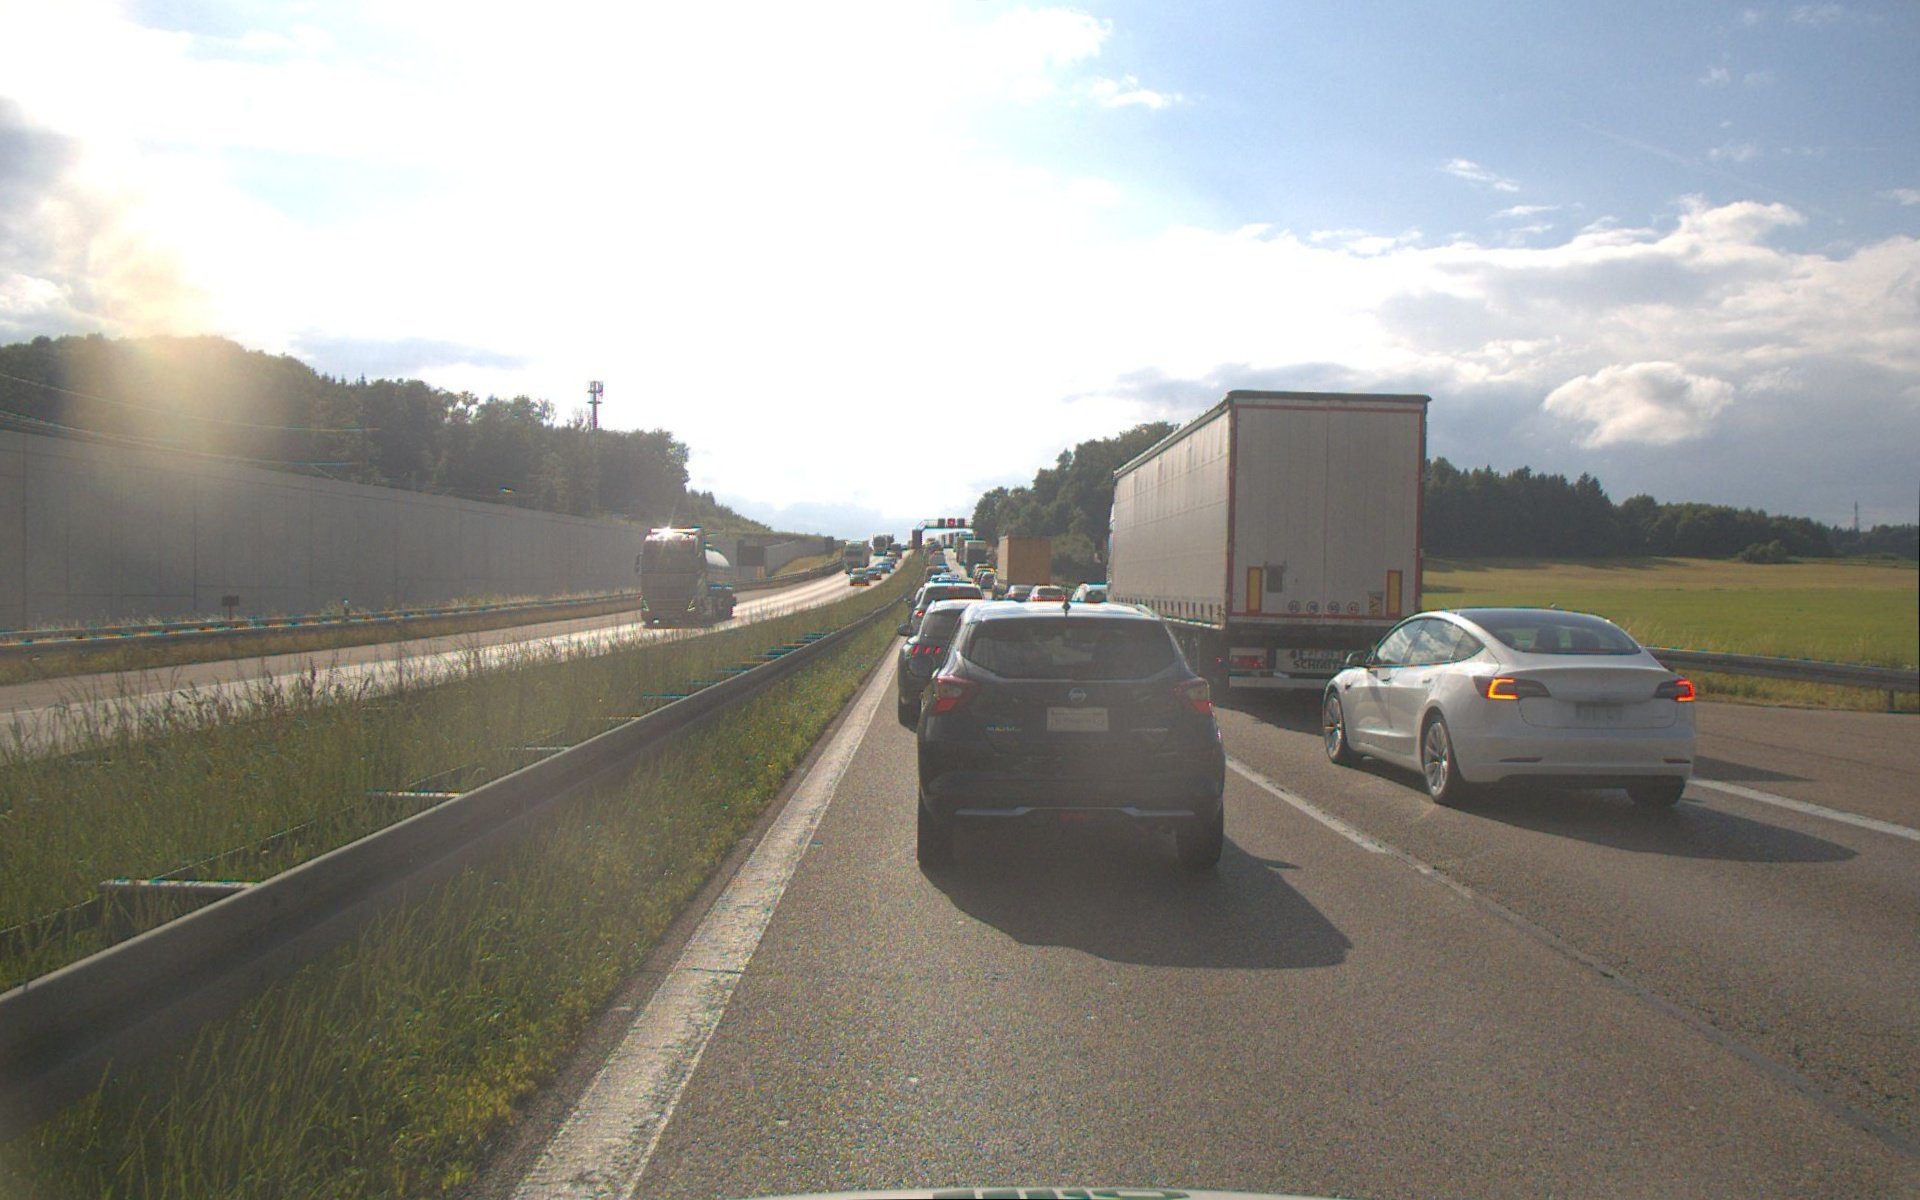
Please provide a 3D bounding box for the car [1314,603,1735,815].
[{"bbox_3d":[4.338,0.752,13.520,1.753,1.418,4.434,0,0,-3],"label":"car"}]

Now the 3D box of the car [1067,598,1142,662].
[{"bbox_3d":[3.828,0.772,44.525,1.663,1.639,4.437,0,0,0],"label":"car"}]

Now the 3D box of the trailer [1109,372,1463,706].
[{"bbox_3d":[4.629,-0.650,27.099,3.067,4.081,13.364,1,-1,0],"label":"trailer"}]

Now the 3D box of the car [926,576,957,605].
[{"bbox_3d":[-1.139,-0.609,99.711,1.835,1.673,4.232,0,2,-1],"label":"car"}]

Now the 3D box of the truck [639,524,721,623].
[{"bbox_3d":[-11.891,-1.086,70.637,2.530,3.991,5.721,-1,0,-1],"label":"truck"}]

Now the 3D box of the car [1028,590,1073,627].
[{"bbox_3d":[4.248,0.396,77.881,1.835,1.673,4.231,0,0,-1],"label":"car"}]

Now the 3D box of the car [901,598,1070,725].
[{"bbox_3d":[0.256,0.672,20.159,1.835,1.381,4.231,0,0,-1],"label":"car"}]

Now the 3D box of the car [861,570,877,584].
[{"bbox_3d":[-10.252,-2.584,186.260,1.663,1.525,4.426,0,0,-1],"label":"car"}]

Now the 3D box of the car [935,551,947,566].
[{"bbox_3d":[-2.887,-6.283,251.758,1.835,2.196,5.211,0,3,-1],"label":"car"}]

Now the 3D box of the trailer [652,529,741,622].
[{"bbox_3d":[-12.022,-1.060,76.470,2.536,3.970,10.862,-1,0,-1],"label":"trailer"}]

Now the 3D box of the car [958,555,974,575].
[{"bbox_3d":[0.728,-4.274,200.160,1.835,2.196,5.211,0,3,-1],"label":"car"}]

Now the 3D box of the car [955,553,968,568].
[{"bbox_3d":[0.185,-6.097,255.261,1.835,2.196,5.211,0,3,-1],"label":"car"}]

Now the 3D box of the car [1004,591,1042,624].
[{"bbox_3d":[3.306,0.386,87.262,1.835,1.673,4.232,0,1,-1],"label":"car"}]

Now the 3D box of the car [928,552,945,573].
[{"bbox_3d":[-2.652,-4.171,184.180,1.835,2.196,5.211,0,3,-1],"label":"car"}]

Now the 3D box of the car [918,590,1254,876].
[{"bbox_3d":[0.631,0.688,10.663,1.737,1.476,4.231,0,0,-1],"label":"car"}]

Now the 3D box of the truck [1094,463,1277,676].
[{"bbox_3d":[4.583,-0.555,34.633,3.069,4.086,5.163,1,-1,0],"label":"truck"}]

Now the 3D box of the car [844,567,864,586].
[{"bbox_3d":[-10.485,-2.294,163.185,1.744,1.767,4.101,0,0,-1],"label":"car"}]

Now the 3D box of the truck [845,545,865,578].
[{"bbox_3d":[-13.832,-5.041,217.987,2.332,4.254,5.931,-1,0,-1],"label":"truck"}]

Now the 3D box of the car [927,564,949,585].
[{"bbox_3d":[-1.888,-2.165,140.250,1.835,1.673,4.231,0,2,-2],"label":"car"}]

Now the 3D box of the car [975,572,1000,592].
[{"bbox_3d":[2.344,-1.561,143.025,1.836,1.673,4.229,0,2,-4],"label":"car"}]

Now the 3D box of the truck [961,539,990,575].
[{"bbox_3d":[2.046,-5.871,225.778,3.394,4.656,12.437,1,1,-2],"label":"truck"}]

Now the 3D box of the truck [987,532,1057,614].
[{"bbox_3d":[3.650,-1.498,100.827,3.230,4.657,12.434,1,-1,-2],"label":"truck"}]

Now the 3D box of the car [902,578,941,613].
[{"bbox_3d":[-1.827,-0.242,80.340,1.835,1.673,4.232,0,1,-1],"label":"car"}]

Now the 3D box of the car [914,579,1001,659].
[{"bbox_3d":[-0.073,0.403,36.867,1.835,1.673,4.231,0,0,-1],"label":"car"}]
